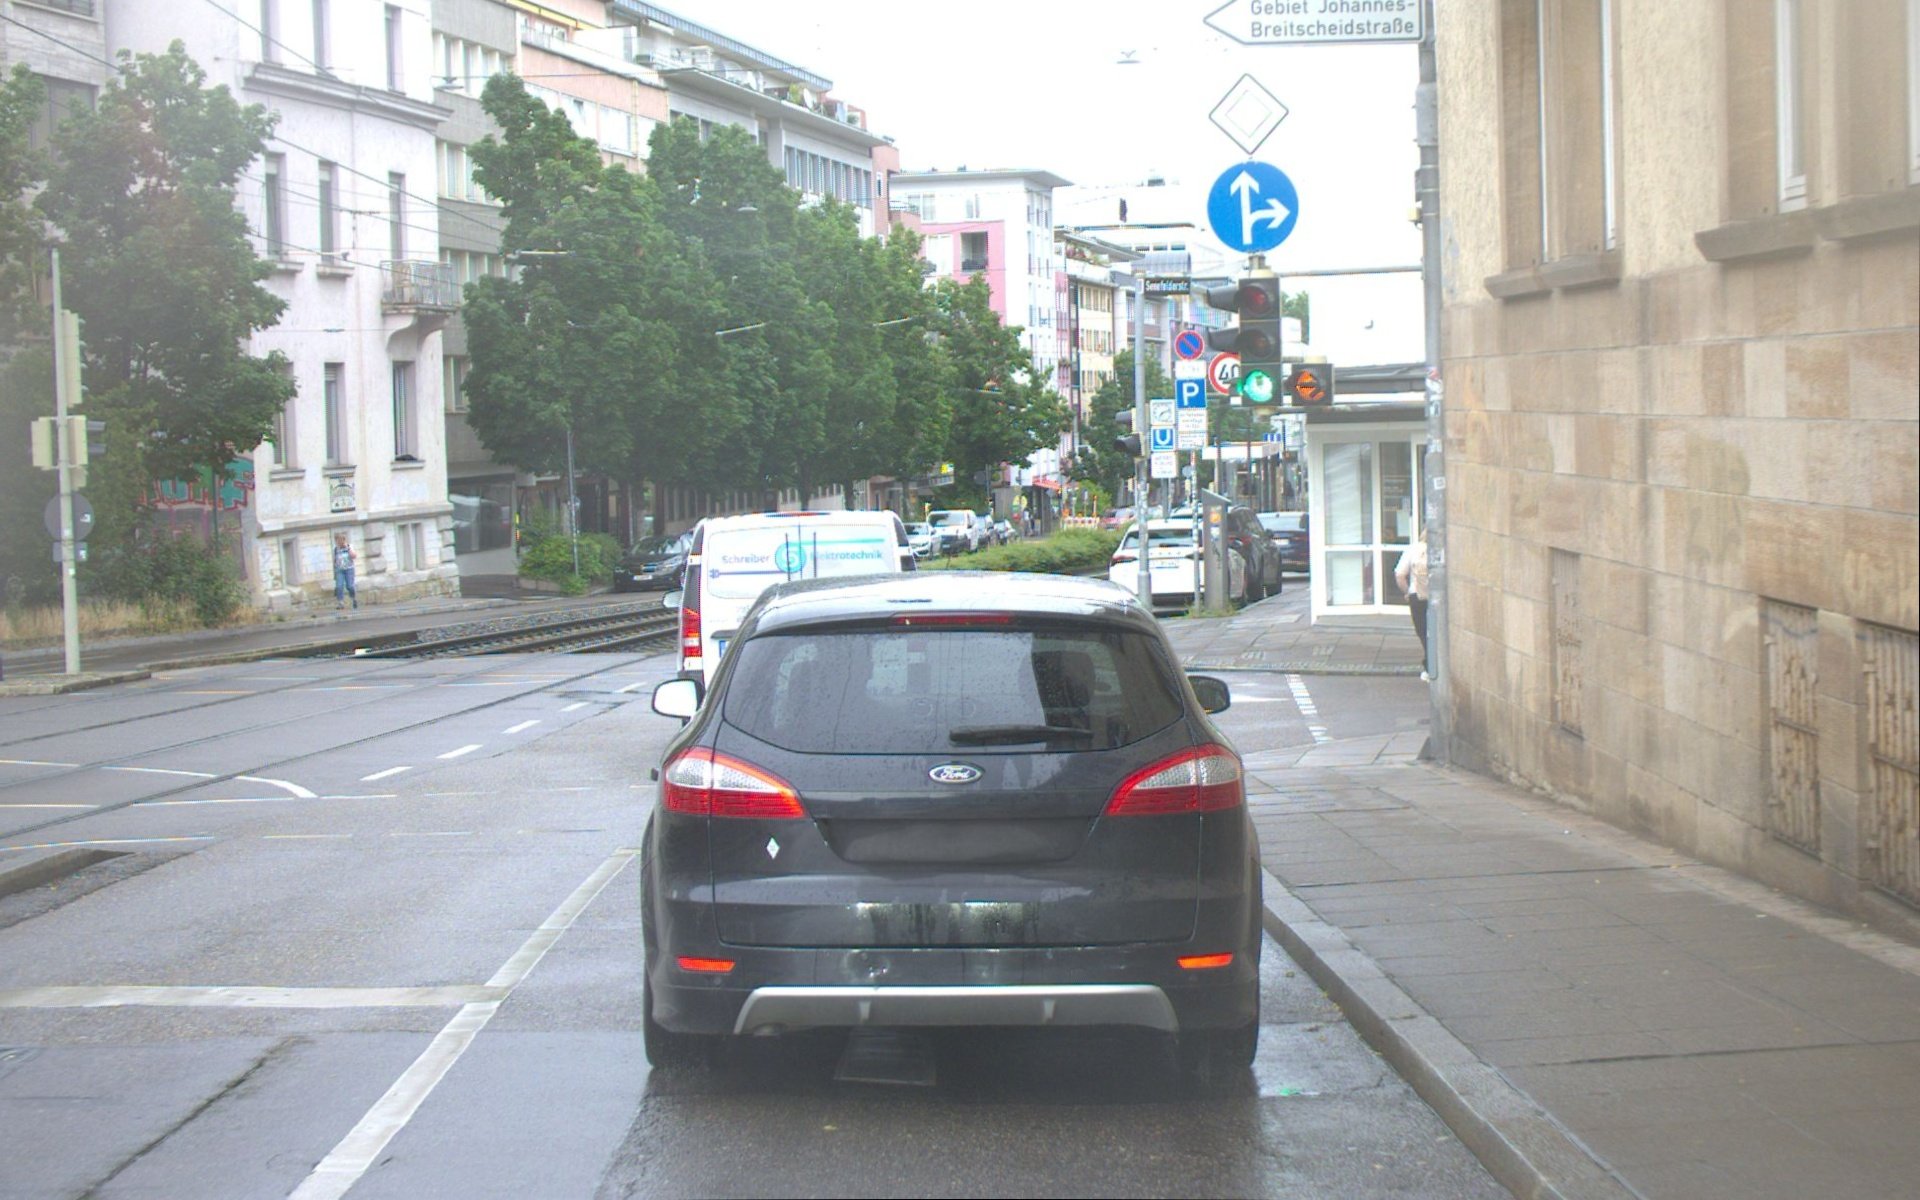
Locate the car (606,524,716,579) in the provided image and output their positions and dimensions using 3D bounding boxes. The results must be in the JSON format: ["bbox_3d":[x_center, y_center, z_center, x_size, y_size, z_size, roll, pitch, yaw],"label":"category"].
[{"bbox_3d":[-7.808,-1.255,90.218,1.694,1.373,4.719,-1,0,10],"label":"car"}]

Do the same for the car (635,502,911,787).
[{"bbox_3d":[-1.411,0.315,27.283,1.988,2.053,4.645,0,0,-1],"label":"car"}]

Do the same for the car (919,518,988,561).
[{"bbox_3d":[-0.240,-2.384,135.618,1.856,1.631,4.933,-1,0,10],"label":"car"}]

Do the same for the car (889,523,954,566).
[{"bbox_3d":[-1.388,-2.029,126.445,1.668,1.553,4.044,-1,0,10],"label":"car"}]

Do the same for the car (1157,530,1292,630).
[{"bbox_3d":[4.621,-0.355,59.563,1.846,1.627,4.584,-1,0,10],"label":"car"}]

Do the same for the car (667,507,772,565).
[{"bbox_3d":[-6.733,-1.777,96.639,1.856,1.543,4.719,-1,0,10],"label":"car"}]

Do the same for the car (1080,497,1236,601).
[{"bbox_3d":[3.078,-0.773,52.634,1.802,1.450,4.584,-2,0,10],"label":"car"}]

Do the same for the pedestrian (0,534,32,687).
[{"bbox_3d":[-11.869,0.117,41.691,0.930,1.823,0.959,1,0,2],"label":"pedestrian"}]

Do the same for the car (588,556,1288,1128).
[{"bbox_3d":[-0.079,0.632,11.096,1.842,1.502,4.000,0,0,-1],"label":"car"}]

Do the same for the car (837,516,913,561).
[{"bbox_3d":[-2.925,-2.123,119.425,1.856,1.521,4.044,-1,0,10],"label":"car"}]

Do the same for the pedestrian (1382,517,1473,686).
[{"bbox_3d":[4.454,0.015,32.807,0.688,1.566,0.763,-2,0,-1],"label":"pedestrian"}]

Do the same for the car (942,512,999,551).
[{"bbox_3d":[0.461,-2.823,142.356,1.695,1.568,4.044,-1,0,10],"label":"car"}]

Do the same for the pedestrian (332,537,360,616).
[{"bbox_3d":[-12.955,-0.494,72.511,0.467,1.646,0.582,1,0,-2],"label":"pedestrian"}]
